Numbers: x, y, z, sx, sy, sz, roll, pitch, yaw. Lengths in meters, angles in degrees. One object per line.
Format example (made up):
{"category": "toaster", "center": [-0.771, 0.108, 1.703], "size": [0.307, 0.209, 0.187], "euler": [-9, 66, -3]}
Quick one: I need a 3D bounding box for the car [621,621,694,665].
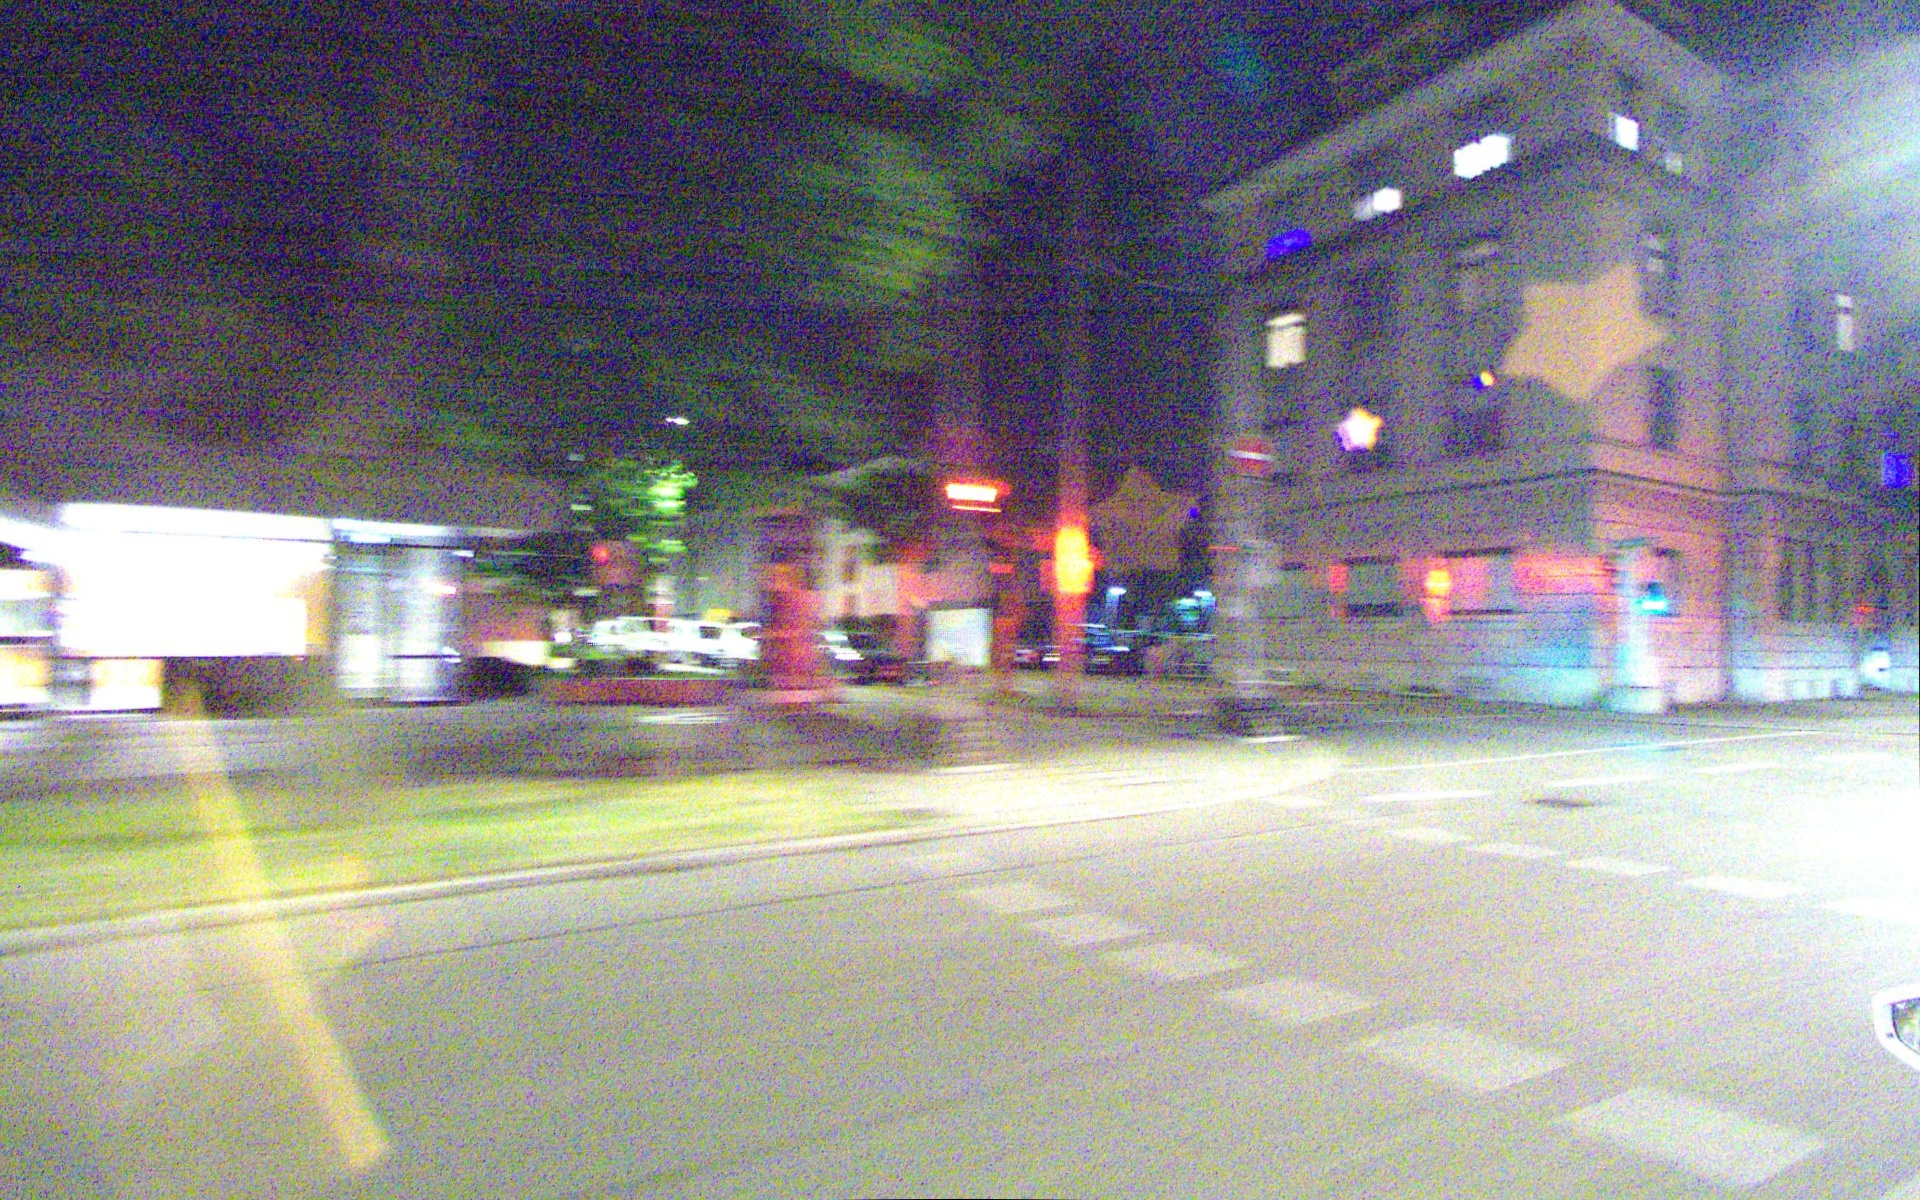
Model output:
{"category": "car", "center": [-13.534, 1.920, 44.780], "size": [1.874, 1.698, 4.351], "euler": [7, -6, -32]}

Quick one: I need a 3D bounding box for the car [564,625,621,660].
{"category": "car", "center": [-19.909, 2.301, 54.358], "size": [1.874, 1.698, 4.351], "euler": [7, -6, -32]}

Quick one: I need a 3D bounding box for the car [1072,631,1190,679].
{"category": "car", "center": [6.328, 2.028, 37.135], "size": [3.952, 1.661, 1.985], "euler": [2, -3, -29]}

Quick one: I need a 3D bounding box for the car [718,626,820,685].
{"category": "car", "center": [-6.402, 1.818, 33.336], "size": [1.813, 1.698, 4.353], "euler": [7, -5, -31]}

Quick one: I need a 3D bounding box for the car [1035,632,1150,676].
{"category": "car", "center": [5.211, 2.119, 39.506], "size": [4.135, 1.661, 1.985], "euler": [2, -3, -29]}

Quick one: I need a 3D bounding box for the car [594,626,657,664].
{"category": "car", "center": [-16.778, 2.244, 50.199], "size": [1.874, 1.698, 4.351], "euler": [7, -6, -32]}

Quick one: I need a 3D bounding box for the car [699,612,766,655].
{"category": "car", "center": [-13.484, 2.027, 59.303], "size": [2.145, 2.363, 5.678], "euler": [2, -3, -31]}

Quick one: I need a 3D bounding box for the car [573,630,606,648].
{"category": "car", "center": [-34.215, 3.628, 92.741], "size": [1.902, 1.534, 5.062], "euler": [2, -3, -31]}

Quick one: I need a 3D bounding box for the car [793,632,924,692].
{"category": "car", "center": [-2.898, 1.690, 27.816], "size": [1.813, 1.410, 4.353], "euler": [7, -6, -31]}

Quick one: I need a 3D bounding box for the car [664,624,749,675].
{"category": "car", "center": [-9.815, 1.907, 38.696], "size": [1.874, 1.730, 4.352], "euler": [7, -5, -31]}
